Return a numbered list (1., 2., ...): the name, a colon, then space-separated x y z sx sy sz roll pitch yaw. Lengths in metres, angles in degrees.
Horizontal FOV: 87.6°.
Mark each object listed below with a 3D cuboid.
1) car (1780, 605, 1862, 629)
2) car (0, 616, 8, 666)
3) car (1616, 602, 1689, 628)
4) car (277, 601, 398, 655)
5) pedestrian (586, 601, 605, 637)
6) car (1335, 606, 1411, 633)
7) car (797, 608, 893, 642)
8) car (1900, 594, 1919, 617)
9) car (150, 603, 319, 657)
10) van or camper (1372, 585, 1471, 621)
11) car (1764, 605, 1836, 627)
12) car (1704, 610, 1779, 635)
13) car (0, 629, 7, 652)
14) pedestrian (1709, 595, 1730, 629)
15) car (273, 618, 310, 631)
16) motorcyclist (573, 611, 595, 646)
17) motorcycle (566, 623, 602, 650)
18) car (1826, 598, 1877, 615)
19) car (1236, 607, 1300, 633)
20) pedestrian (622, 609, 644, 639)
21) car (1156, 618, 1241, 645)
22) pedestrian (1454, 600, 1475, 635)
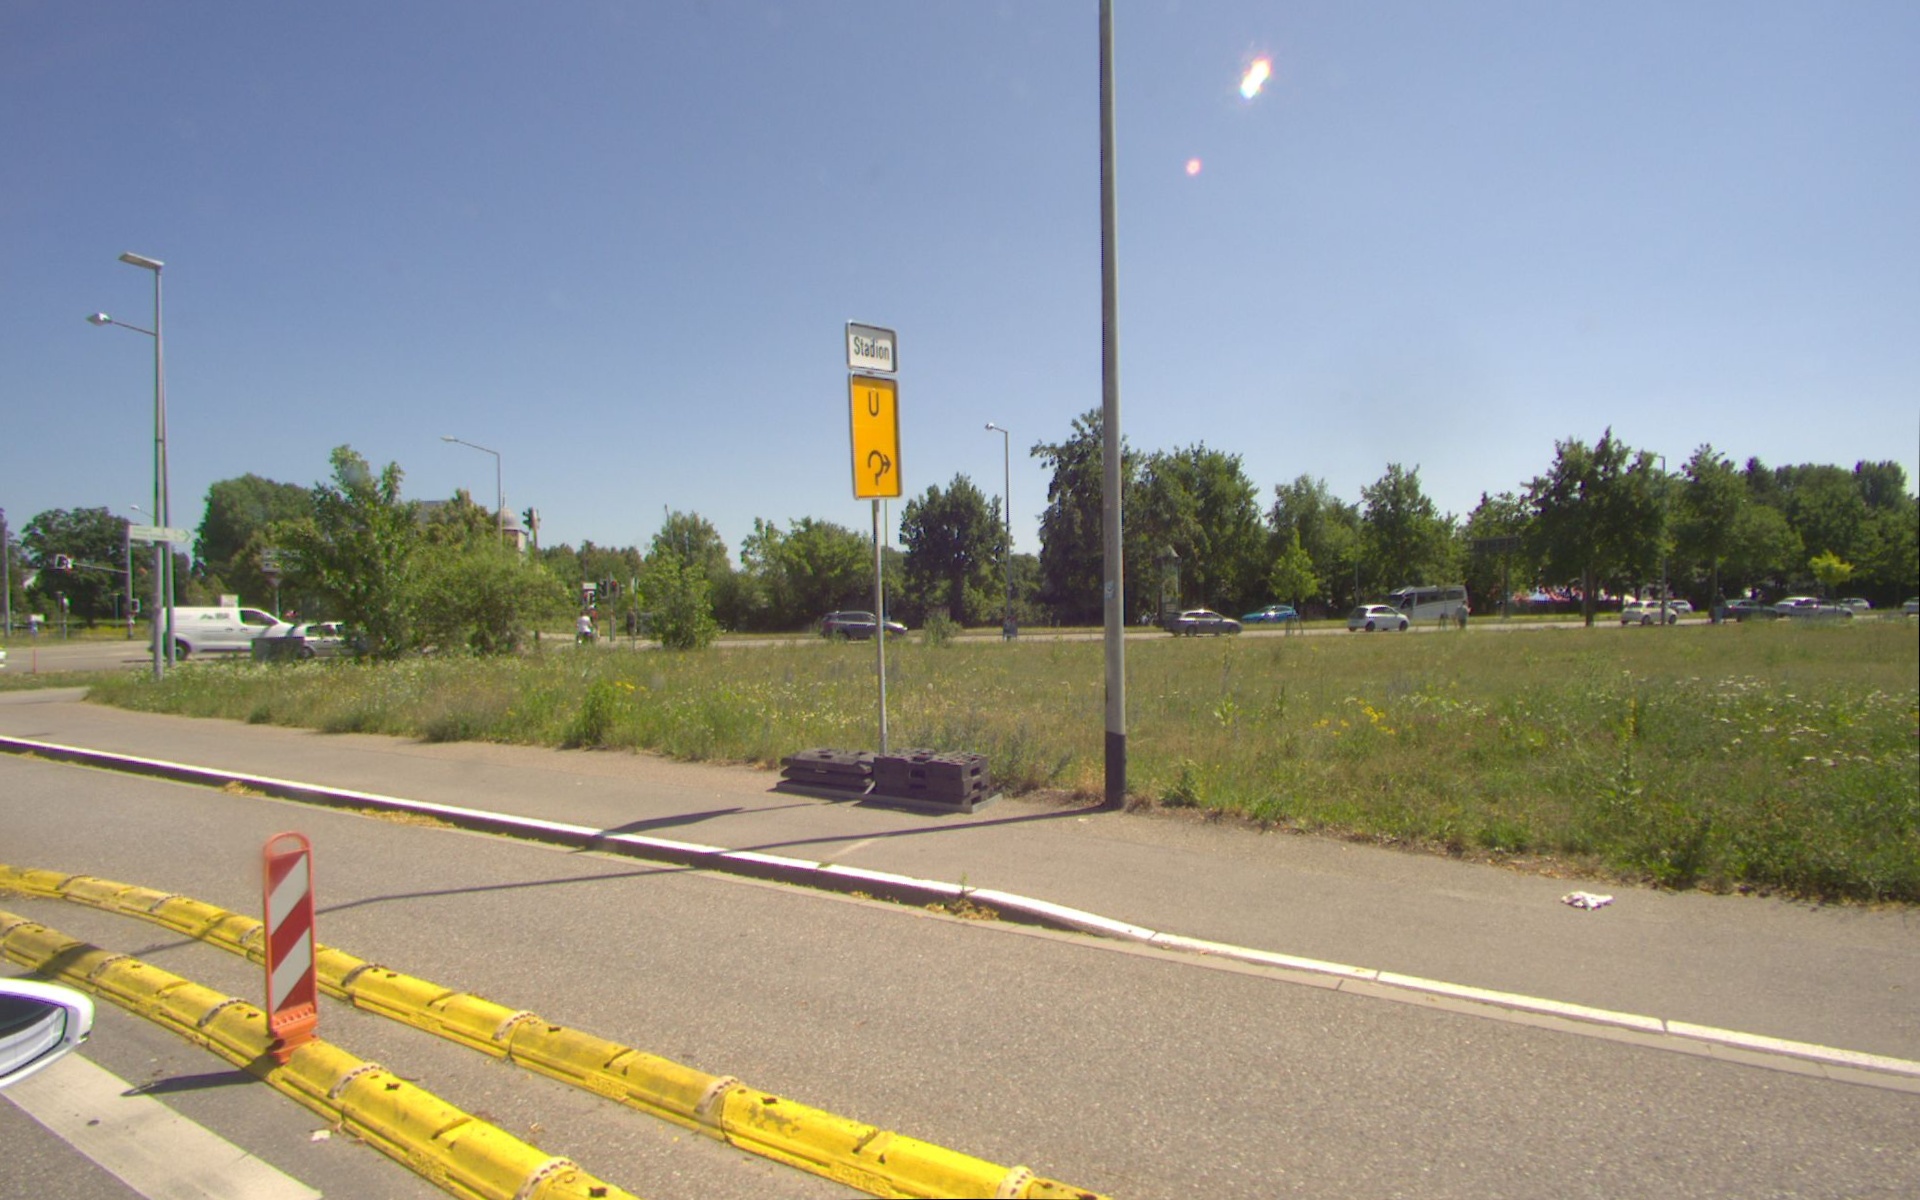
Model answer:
1. car: 55.513 1.079 64.578 3.999 1.524 1.999 0 -1 -12
2. car: -29.857 1.175 28.412 1.614 1.463 3.990 -1 -2 40
3. car: 44.375 0.969 64.181 3.928 1.572 1.738 0 -1 -16
4. car: -22.449 1.007 36.149 3.632 1.874 1.622 1 -1 -36
5. pedestrian: -19.502 1.033 53.622 0.726 1.894 0.648 -1 -1 34
6. car: 24.448 1.161 59.337 3.928 1.572 1.738 0 -1 -16
7. car: -5.673 1.222 49.211 4.372 1.616 1.995 0 -1 -20
8. car: 69.556 0.382 71.567 3.928 1.572 1.738 0 -1 -16
9. car: -27.053 1.098 37.444 4.935 1.874 1.982 1 -1 -42
10. van or camper: 36.431 0.281 79.045 7.383 2.728 2.508 0 -1 -19
11. car: 60.504 1.132 72.158 4.559 1.572 1.738 0 -1 -16
12. car: 52.010 1.510 66.633 4.331 1.572 1.737 2 -2 -17
13. car: -73.796 3.040 74.278 4.119 1.695 1.948 -1 0 -4
14. pedestrian: 38.319 0.602 50.503 0.724 1.712 0.497 0 -1 -18
15. car: -91.596 3.363 137.256 1.964 1.736 3.996 -1 -1 16
16. motorcyclist: -14.236 1.073 37.923 0.570 1.306 0.615 0 -1 3
17. motorcycle: -14.211 1.364 37.878 0.619 0.982 1.709 0 -1 3
18. car: 82.803 0.624 93.021 3.928 1.572 1.738 0 -1 -16
19. car: 22.017 1.434 71.728 3.927 1.861 1.998 0 -1 -15
20. pedestrian: -17.595 1.306 53.885 0.811 1.583 0.790 -1 -1 33
21. car: 13.083 1.719 54.902 4.131 1.409 1.899 0 -1 -15
22. pedestrian: 22.928 0.810 45.525 0.724 1.583 0.497 0 -1 -18
